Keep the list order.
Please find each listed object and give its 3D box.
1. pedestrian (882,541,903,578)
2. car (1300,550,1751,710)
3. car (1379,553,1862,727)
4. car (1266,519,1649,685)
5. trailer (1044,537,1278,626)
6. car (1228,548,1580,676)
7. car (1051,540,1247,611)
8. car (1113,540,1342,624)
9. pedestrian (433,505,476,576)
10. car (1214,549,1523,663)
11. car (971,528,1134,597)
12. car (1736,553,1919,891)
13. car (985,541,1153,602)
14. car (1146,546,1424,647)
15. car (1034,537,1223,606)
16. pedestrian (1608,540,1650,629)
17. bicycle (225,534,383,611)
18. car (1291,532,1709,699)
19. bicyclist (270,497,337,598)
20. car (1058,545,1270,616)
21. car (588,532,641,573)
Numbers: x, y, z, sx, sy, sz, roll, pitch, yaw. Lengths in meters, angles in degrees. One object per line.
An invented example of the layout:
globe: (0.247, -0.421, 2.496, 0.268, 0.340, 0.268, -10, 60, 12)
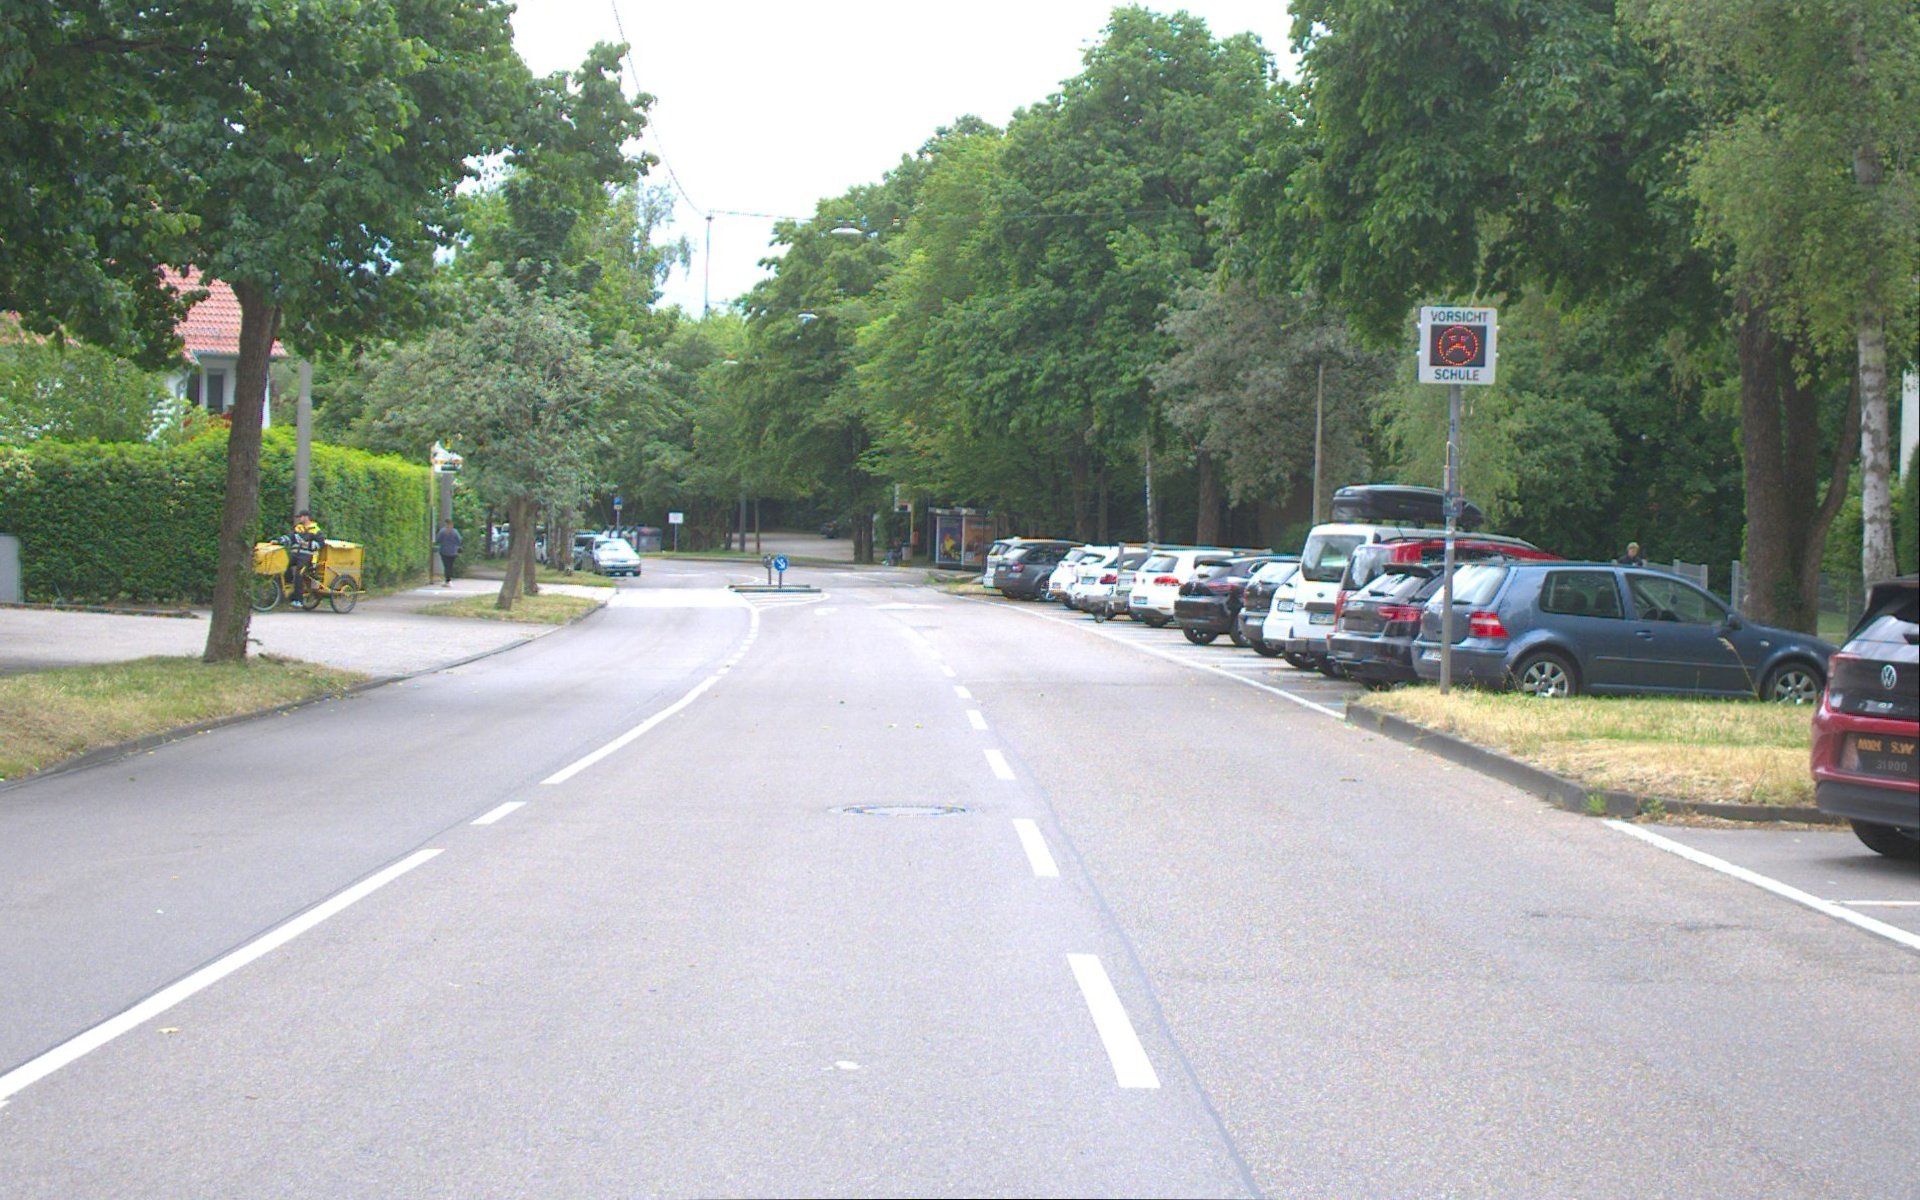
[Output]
pedestrian: (-2.845, -1.712, 145.712, 0.741, 1.564, 0.651, 1, 1, 10)
car: (5.635, 0.298, 34.320, 4.026, 1.400, 1.757, 2, 1, -18)
car: (6.104, 0.365, 31.887, 3.963, 1.400, 1.757, 2, 1, -15)
car: (5.828, 0.026, 40.215, 4.085, 1.748, 1.787, 2, 1, -27)
trailer: (3.916, -0.363, 67.080, 4.153, 1.568, 1.712, 2, 1, -20)
car: (5.647, 0.148, 43.893, 3.965, 1.444, 1.919, 2, 1, -16)
car: (4.146, -0.537, 75.555, 3.883, 1.424, 1.744, 2, 1, -20)
car: (5.051, -0.340, 64.912, 3.883, 1.444, 1.744, 2, 1, -22)
pedestrian: (-12.551, -1.484, 85.455, 0.974, 1.724, 0.849, 1, 1, -4)
car: (5.786, 0.075, 48.779, 3.883, 1.444, 1.845, 2, 1, -20)
car: (2.446, -0.993, 90.902, 3.883, 1.662, 1.744, 2, 1, -20)
car: (6.032, 0.581, 16.810, 4.070, 1.510, 1.734, 1, 1, -22)
car: (2.782, -0.728, 88.120, 3.883, 1.424, 1.744, 2, 1, -20)
car: (5.076, -0.053, 53.710, 3.883, 1.444, 1.845, 2, 1, -24)
car: (3.819, -0.643, 78.127, 3.883, 1.424, 1.744, 2, 1, -20)
pedestrian: (12.187, -0.290, 62.627, 0.649, 1.598, 0.743, 1, 1, 5)
bicycle: (-11.214, -0.462, 58.836, 0.847, 1.262, 2.645, 3, 2, 42)
car: (5.835, 0.161, 37.290, 3.995, 1.614, 1.885, 2, 1, -16)
bicyclist: (-11.226, -0.905, 58.801, 0.847, 1.691, 0.712, 3, 2, 41)
car: (4.137, -0.390, 69.770, 3.883, 1.305, 1.744, 1, 1, -25)
car: (-13.082, -1.809, 129.986, 1.866, 1.466, 4.001, 1, 1, -8)
